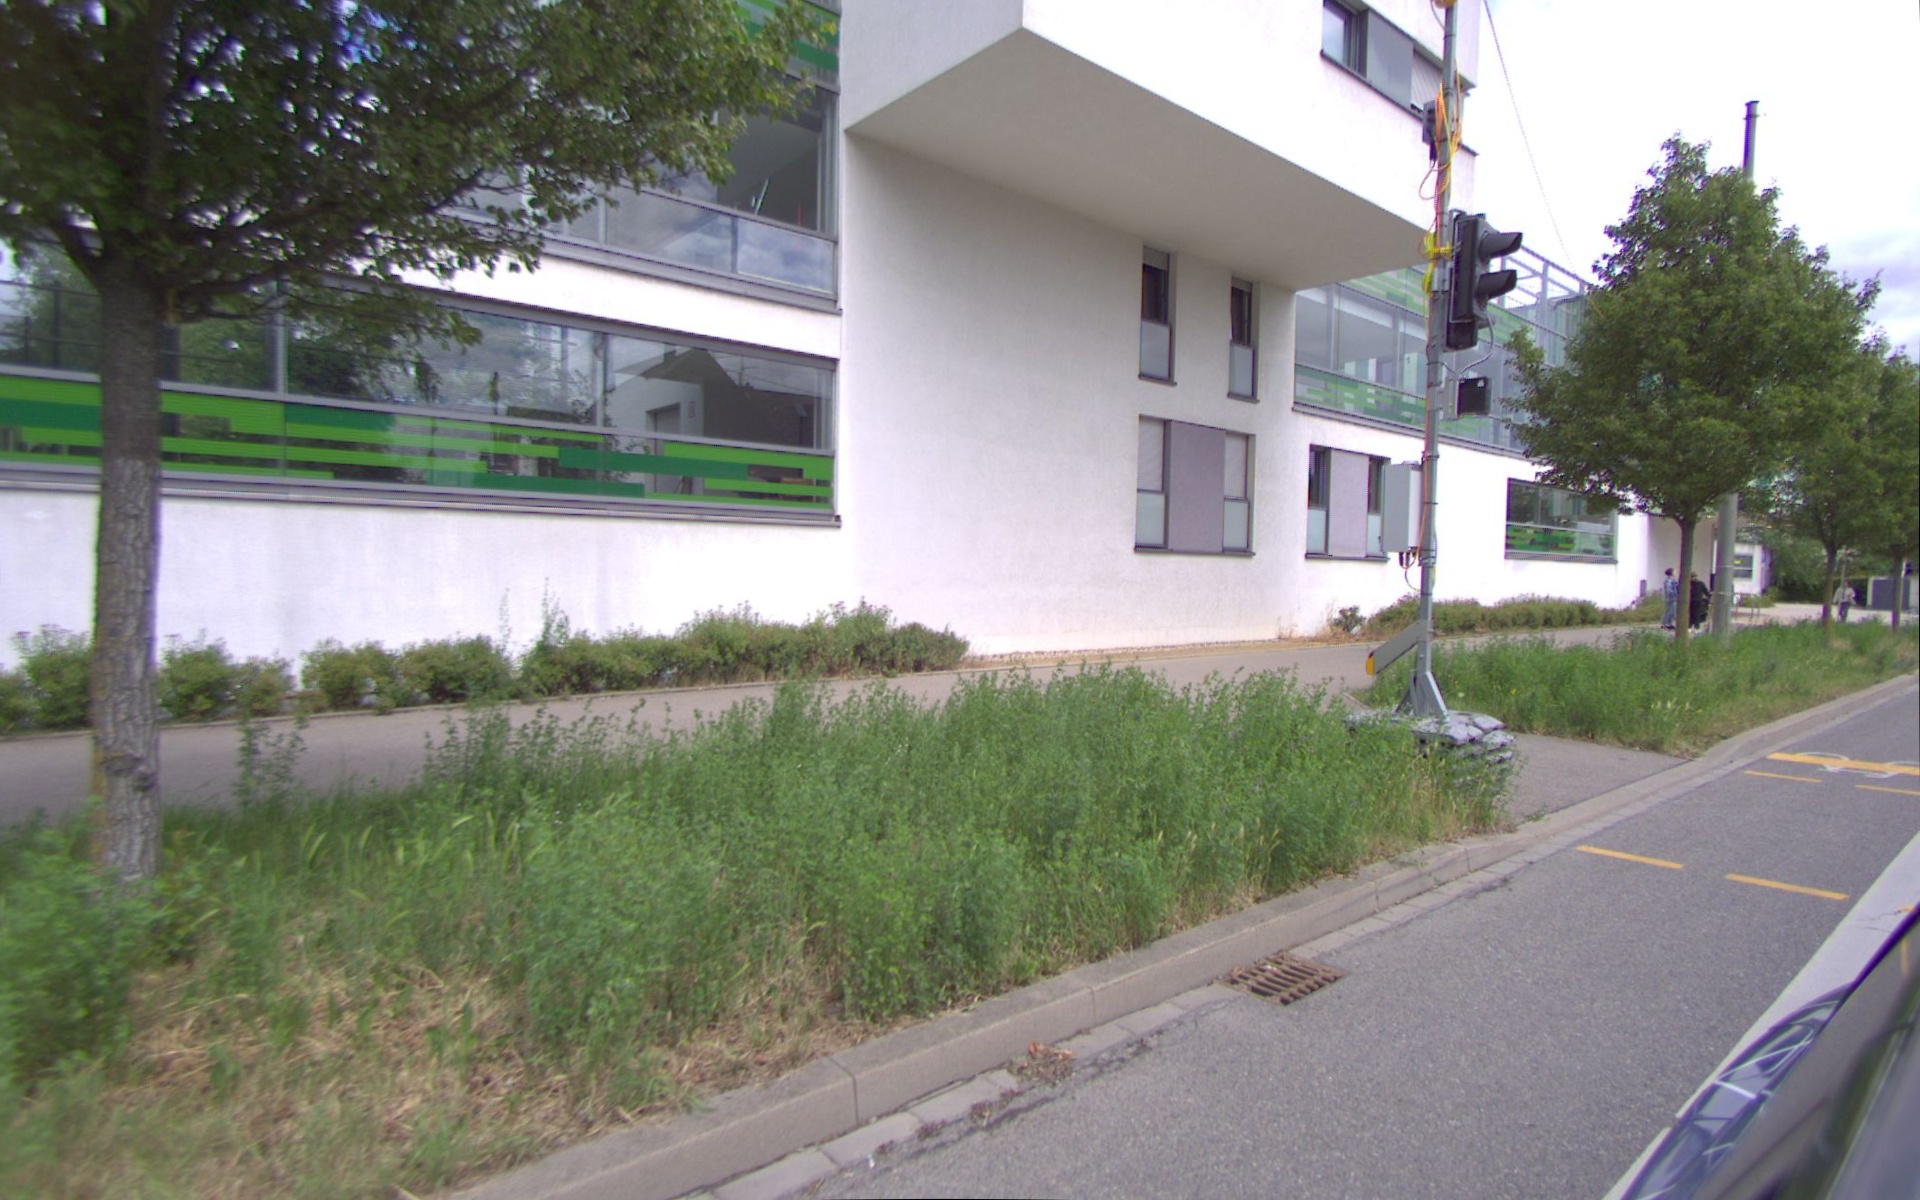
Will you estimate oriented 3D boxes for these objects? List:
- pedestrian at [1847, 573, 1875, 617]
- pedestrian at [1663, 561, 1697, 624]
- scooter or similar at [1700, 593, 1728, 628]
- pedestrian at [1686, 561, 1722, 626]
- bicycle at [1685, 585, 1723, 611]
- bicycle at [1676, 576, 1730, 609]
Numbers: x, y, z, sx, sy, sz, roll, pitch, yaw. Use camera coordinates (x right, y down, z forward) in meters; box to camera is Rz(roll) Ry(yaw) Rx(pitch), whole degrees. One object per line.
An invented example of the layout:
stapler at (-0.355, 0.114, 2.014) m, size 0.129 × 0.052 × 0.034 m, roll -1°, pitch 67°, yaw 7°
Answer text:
pedestrian at (32.747, -0.192, 36.780) m, size 0.853 × 1.570 × 0.582 m, roll 0°, pitch 3°, yaw -40°
pedestrian at (19.654, -0.217, 27.628) m, size 0.596 × 1.675 × 0.551 m, roll 0°, pitch 3°, yaw -40°
scooter or similar at (20.243, 0.278, 27.177) m, size 0.670 × 0.916 × 0.422 m, roll 0°, pitch 3°, yaw -41°
pedestrian at (19.805, -0.175, 26.947) m, size 0.542 × 1.675 × 0.606 m, roll 0°, pitch 3°, yaw -40°
bicycle at (26.460, -0.070, 35.992) m, size 1.011 × 0.852 × 0.305 m, roll 3°, pitch 2°, yaw 18°
bicycle at (25.780, -0.280, 35.128) m, size 1.462 × 1.058 × 0.303 m, roll 4°, pitch 3°, yaw 38°
